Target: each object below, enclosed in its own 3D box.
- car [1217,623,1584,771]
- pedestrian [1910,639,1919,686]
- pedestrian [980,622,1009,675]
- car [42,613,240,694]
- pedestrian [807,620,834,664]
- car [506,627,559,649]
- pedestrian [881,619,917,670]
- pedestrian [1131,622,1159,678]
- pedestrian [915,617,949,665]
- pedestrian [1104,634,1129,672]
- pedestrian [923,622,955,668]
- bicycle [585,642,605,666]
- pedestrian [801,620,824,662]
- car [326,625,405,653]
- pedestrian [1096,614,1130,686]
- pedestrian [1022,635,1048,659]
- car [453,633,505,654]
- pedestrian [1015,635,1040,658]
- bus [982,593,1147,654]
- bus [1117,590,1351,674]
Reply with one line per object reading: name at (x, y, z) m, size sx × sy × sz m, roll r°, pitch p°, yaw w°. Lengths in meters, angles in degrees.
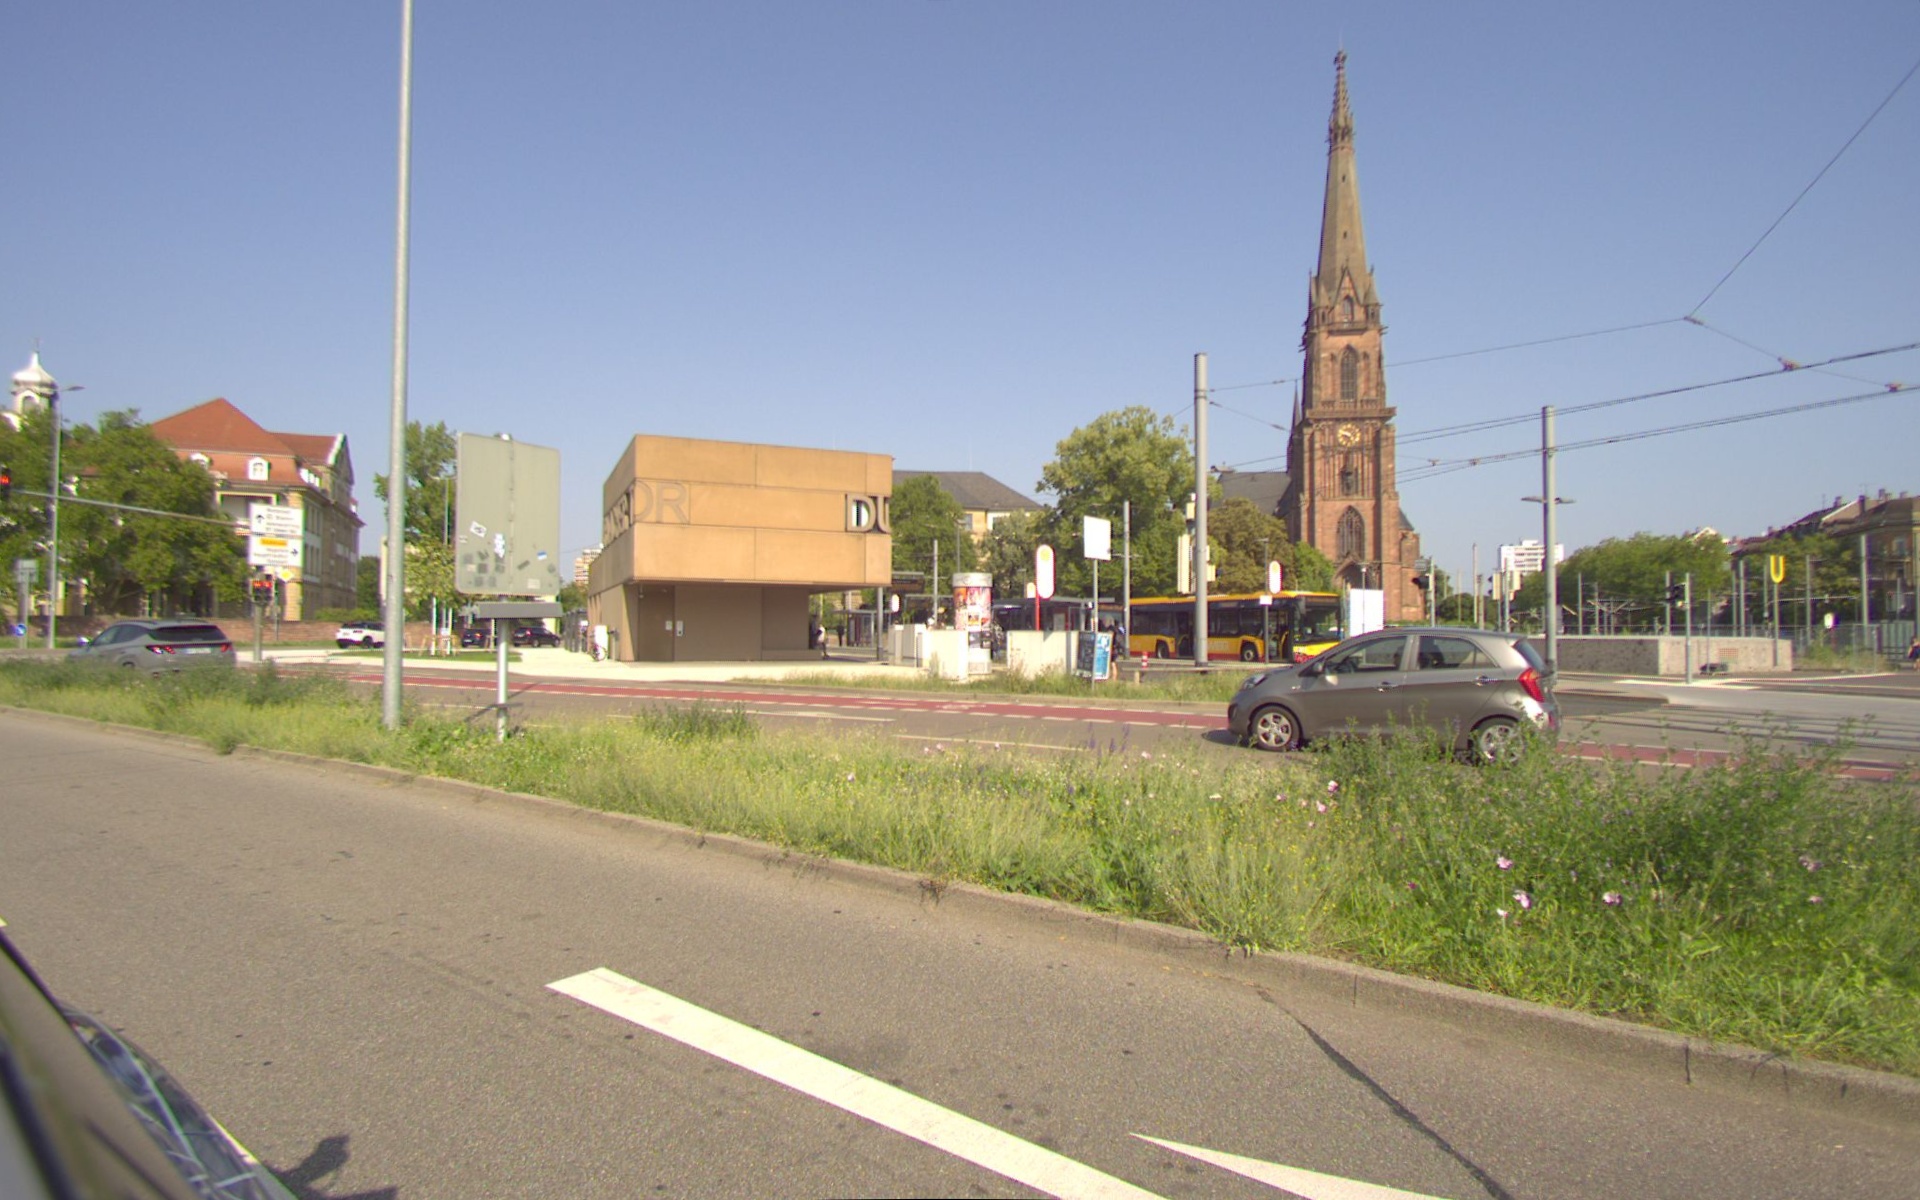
car at (5.105, 1.014, 11.846) m, size 3.665 × 1.463 × 1.873 m, roll -1°, pitch -2°, yaw 34°
pedestrian at (38.777, 2.524, 40.733) m, size 0.651 × 1.880 × 0.713 m, roll -2°, pitch -3°, yaw 35°
pedestrian at (1.188, 1.677, 35.022) m, size 0.689 × 1.814 × 0.782 m, roll 1°, pitch -2°, yaw -26°
car at (-17.971, 1.137, 22.185) m, size 4.439 × 1.630 × 1.684 m, roll -1°, pitch -2°, yaw 27°
pedestrian at (-5.527, 1.676, 40.128) m, size 0.851 × 1.718 × 0.734 m, roll 1°, pitch -2°, yaw -28°
car at (-33.930, 3.036, 80.436) m, size 1.976 × 1.646 × 4.362 m, roll 0°, pitch -2°, yaw 7°
pedestrian at (-2.205, 1.601, 36.546) m, size 0.975 × 1.783 × 0.867 m, roll 2°, pitch -3°, yaw -43°
pedestrian at (6.037, 1.628, 33.014) m, size 0.698 × 1.814 × 0.772 m, roll -1°, pitch -2°, yaw 31°
pedestrian at (-1.008, 1.463, 36.442) m, size 0.861 × 1.685 × 0.981 m, roll -1°, pitch -2°, yaw 25°
pedestrian at (7.196, 2.435, 46.607) m, size 0.816 × 1.752 × 0.838 m, roll 1°, pitch -2°, yaw -23°
pedestrian at (-0.736, 1.555, 35.025) m, size 0.851 × 1.571 × 0.993 m, roll 1°, pitch -2°, yaw -17°
bicycle at (-13.501, 1.993, 37.376) m, size 0.582 × 0.844 × 1.552 m, roll -2°, pitch -1°, yaw -23°
pedestrian at (-6.315, 1.758, 43.326) m, size 0.707 × 1.751 × 0.859 m, roll 1°, pitch -2°, yaw -25°
car at (-37.012, 2.417, 63.165) m, size 1.976 × 1.646 × 4.362 m, roll 0°, pitch -2°, yaw 7°
pedestrian at (3.891, 1.264, 25.730) m, size 0.696 × 1.814 × 0.774 m, roll -1°, pitch -2°, yaw 21°
pedestrian at (3.708, 2.317, 50.109) m, size 1.013 × 1.142 × 0.740 m, roll 1°, pitch -2°, yaw -32°
car at (-35.272, 3.179, 74.258) m, size 1.607 × 1.509 × 3.840 m, roll 0°, pitch -2°, yaw 8°
pedestrian at (3.397, 2.320, 50.924) m, size 1.013 × 1.142 × 0.740 m, roll 1°, pitch -2°, yaw -32°
bus at (5.433, 1.379, 56.687) m, size 3.242 × 3.000 × 12.838 m, roll 1°, pitch -2°, yaw -24°
bus at (11.313, 1.409, 43.973) m, size 2.669 × 3.132 × 12.254 m, roll 1°, pitch -2°, yaw -24°
